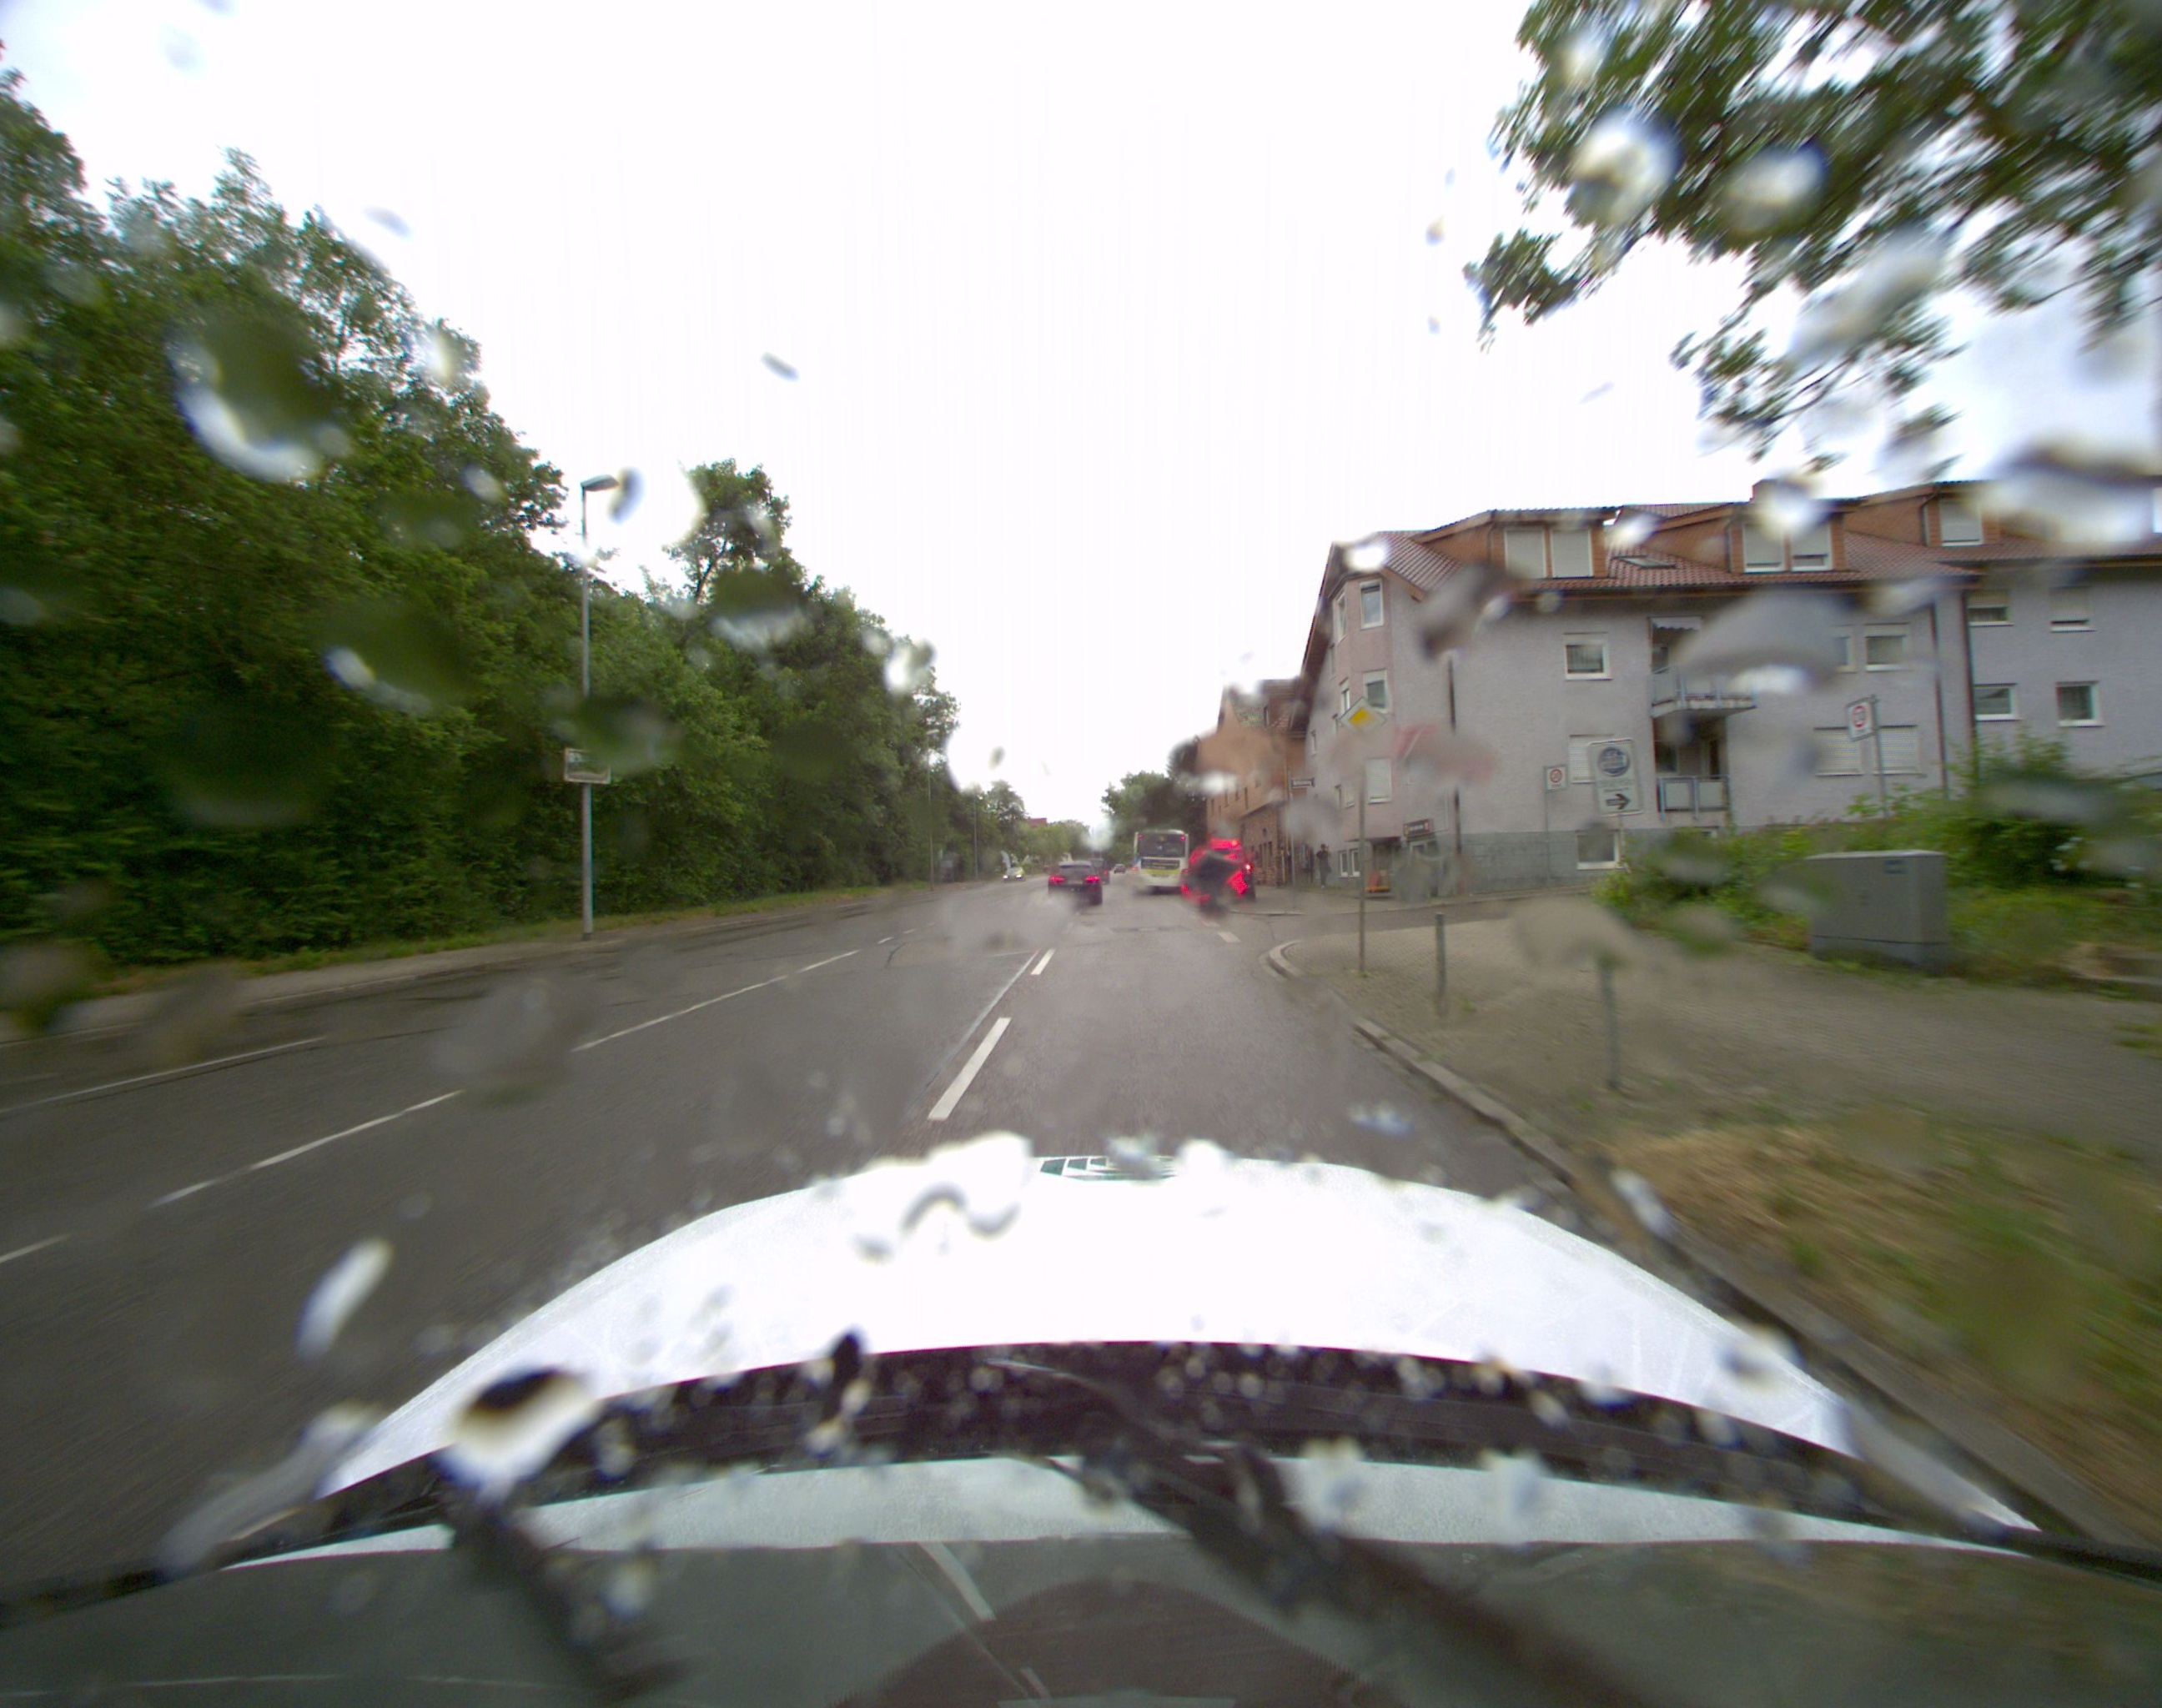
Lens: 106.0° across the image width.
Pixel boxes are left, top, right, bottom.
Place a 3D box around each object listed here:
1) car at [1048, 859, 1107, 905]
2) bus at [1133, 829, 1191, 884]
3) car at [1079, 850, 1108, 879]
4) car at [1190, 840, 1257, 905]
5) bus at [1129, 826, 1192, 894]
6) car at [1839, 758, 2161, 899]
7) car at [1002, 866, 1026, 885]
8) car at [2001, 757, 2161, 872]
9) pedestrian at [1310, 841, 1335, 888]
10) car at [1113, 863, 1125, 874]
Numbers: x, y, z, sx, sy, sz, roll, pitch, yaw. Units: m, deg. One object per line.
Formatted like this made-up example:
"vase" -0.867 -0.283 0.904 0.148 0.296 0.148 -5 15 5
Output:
"car" -0.201 0.948 29.418 1.989 1.453 3.997 1 1 -2
"bus" 4.680 0.064 48.737 2.613 2.847 9.799 -3 1 2
"car" 0.947 0.753 59.934 1.986 2.013 4.002 -1 0 2
"car" 4.943 0.576 28.065 1.915 1.892 4.775 -5 -1 11
"bus" 4.034 0.196 39.769 2.608 2.847 8.307 -3 1 8
"car" 13.717 -0.403 12.021 1.673 1.683 3.677 -5 1 3
"car" -6.318 1.984 77.322 1.764 1.533 4.001 -3 1 1
"car" 15.901 -0.644 11.516 1.638 1.583 3.602 -6 -2 3
"pedestrian" 9.301 0.391 31.391 0.688 1.754 0.669 -3 0 1
"car" 6.288 2.399 134.136 1.859 1.519 4.001 -2 1 1
